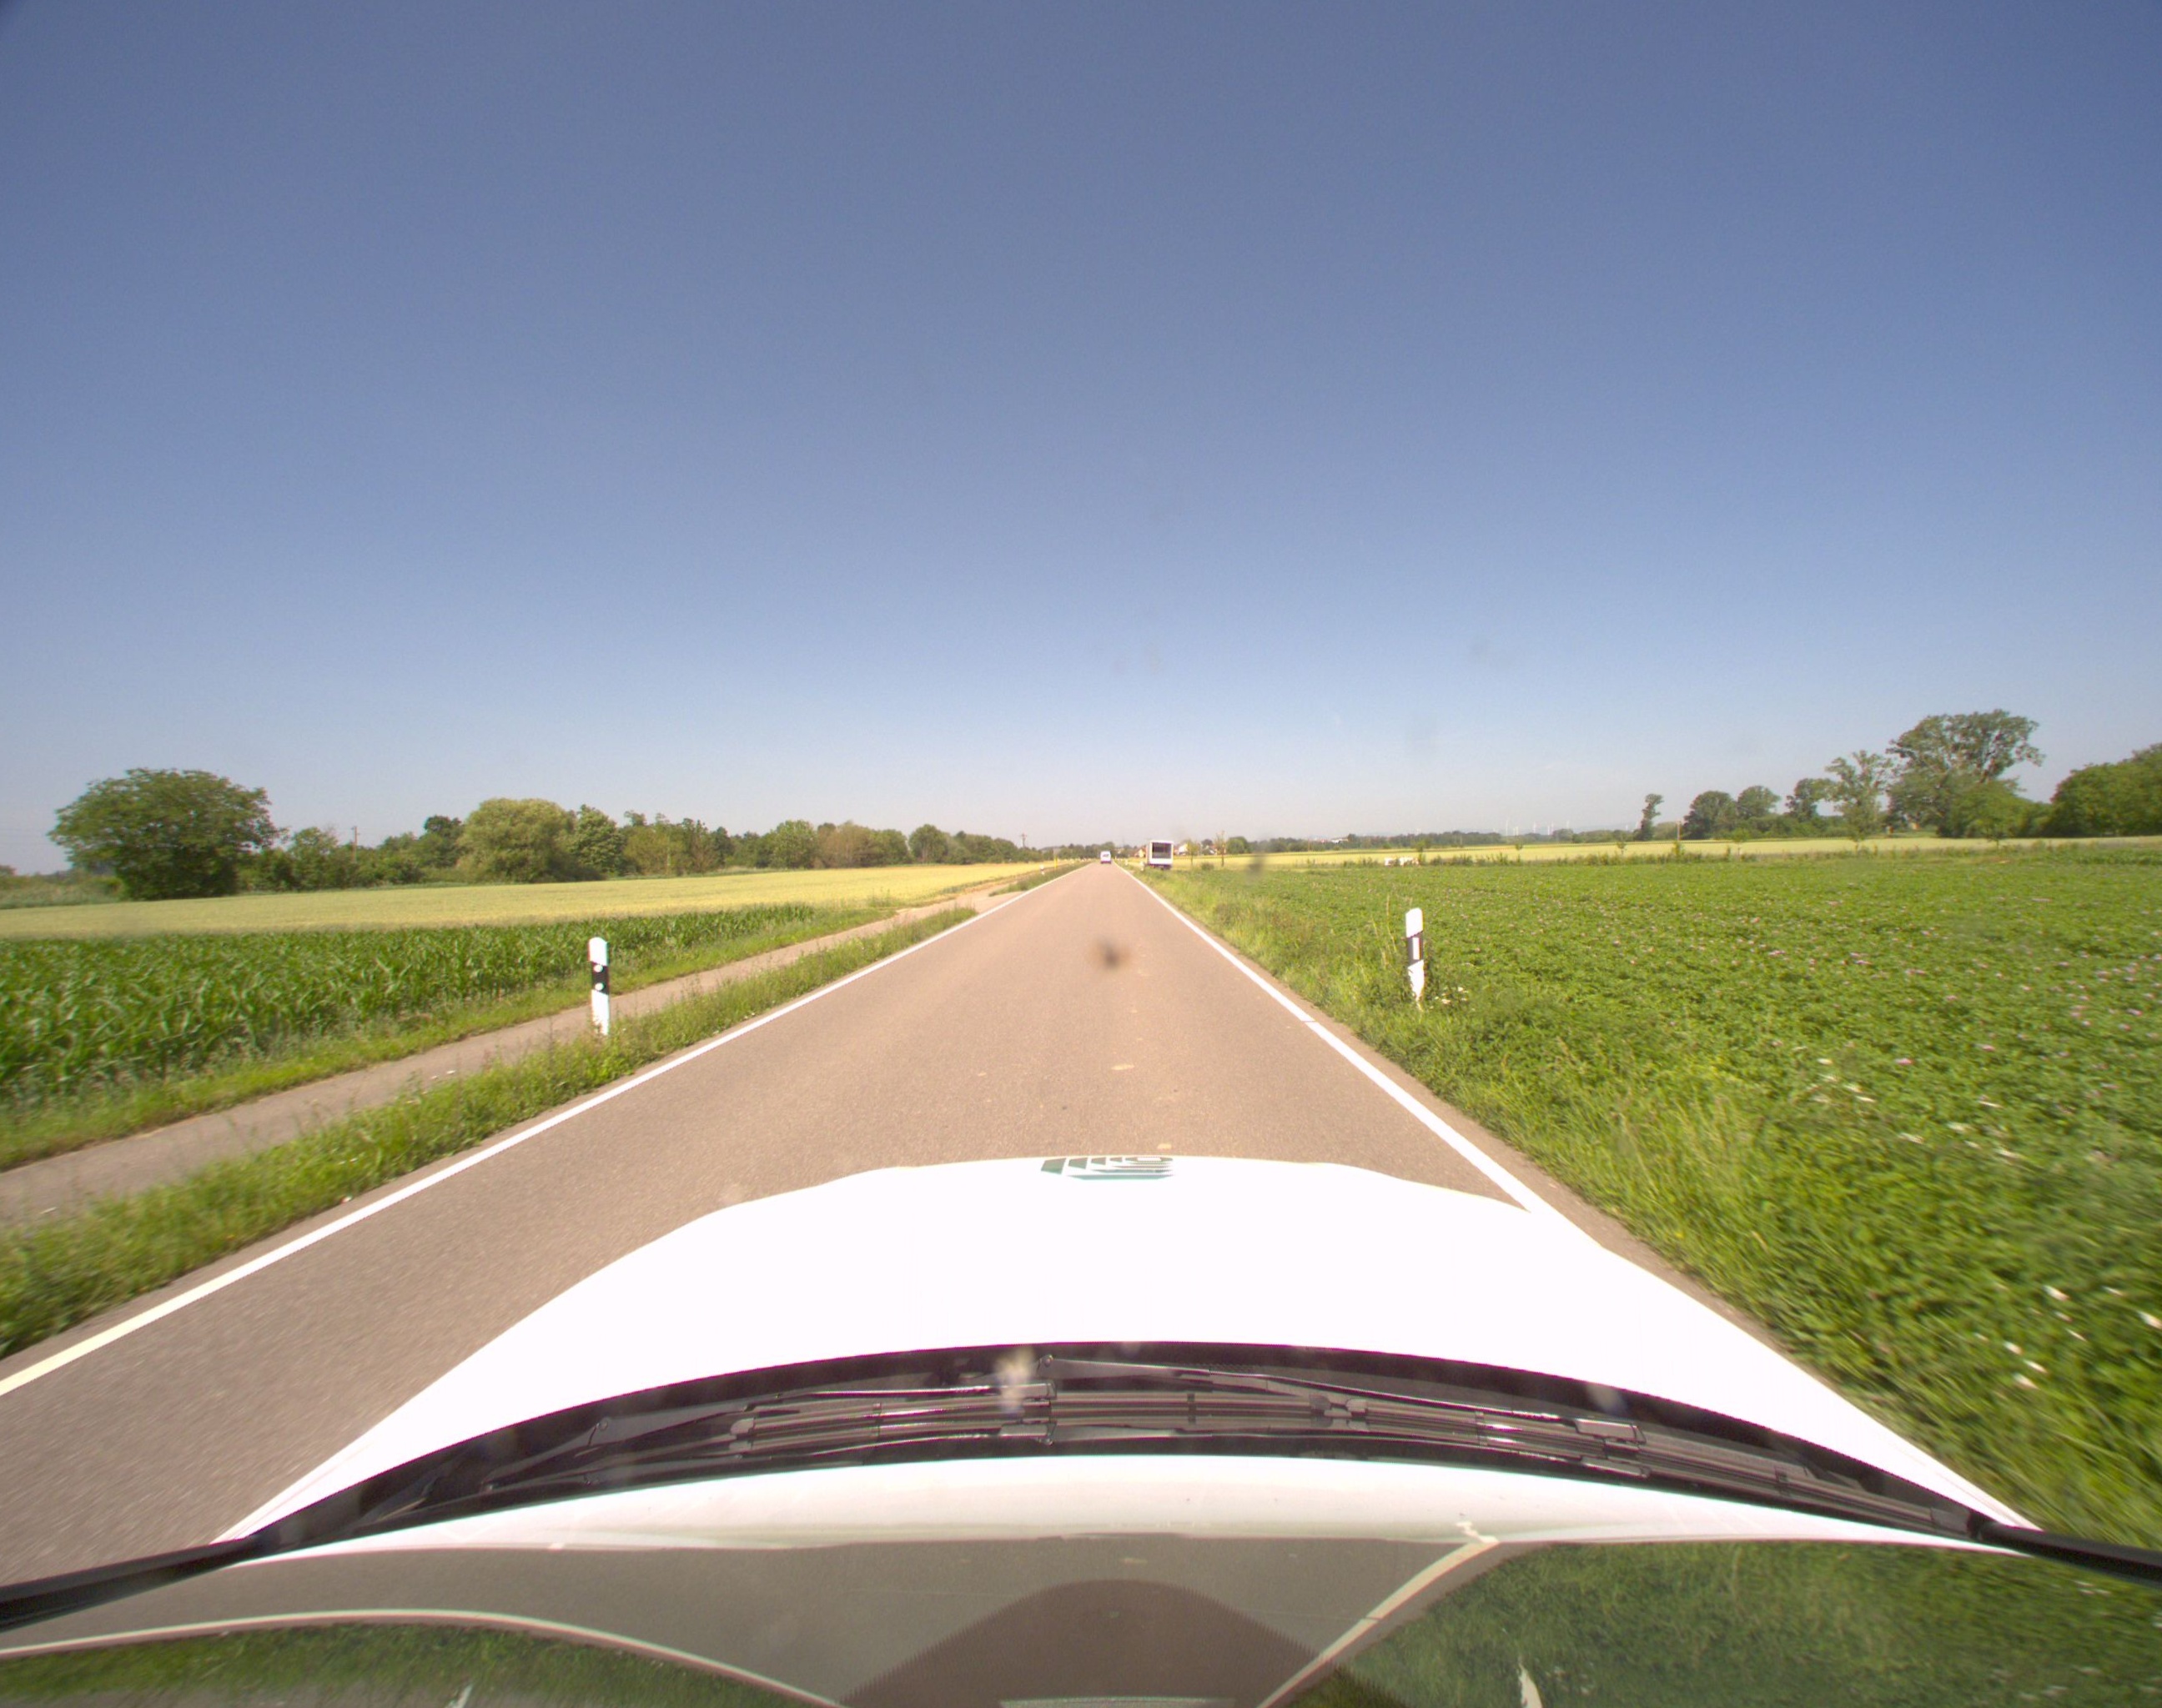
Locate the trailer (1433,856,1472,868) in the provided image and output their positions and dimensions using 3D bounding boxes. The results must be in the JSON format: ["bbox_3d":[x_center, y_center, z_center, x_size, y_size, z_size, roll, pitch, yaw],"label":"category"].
[{"bbox_3d":[39.367,0.825,86.462,3.513,1.189,1.669,-1,-1,13],"label":"trailer"}]

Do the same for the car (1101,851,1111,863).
[{"bbox_3d":[5.058,0.620,165.036,2.099,2.304,5.497,0,0,2],"label":"car"}]

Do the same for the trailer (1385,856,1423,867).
[{"bbox_3d":[34.858,0.763,87.924,3.560,1.189,1.669,0,-1,13],"label":"trailer"}]

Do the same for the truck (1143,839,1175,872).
[{"bbox_3d":[7.389,0.134,77.871,2.328,2.942,7.007,1,0,0],"label":"truck"}]
